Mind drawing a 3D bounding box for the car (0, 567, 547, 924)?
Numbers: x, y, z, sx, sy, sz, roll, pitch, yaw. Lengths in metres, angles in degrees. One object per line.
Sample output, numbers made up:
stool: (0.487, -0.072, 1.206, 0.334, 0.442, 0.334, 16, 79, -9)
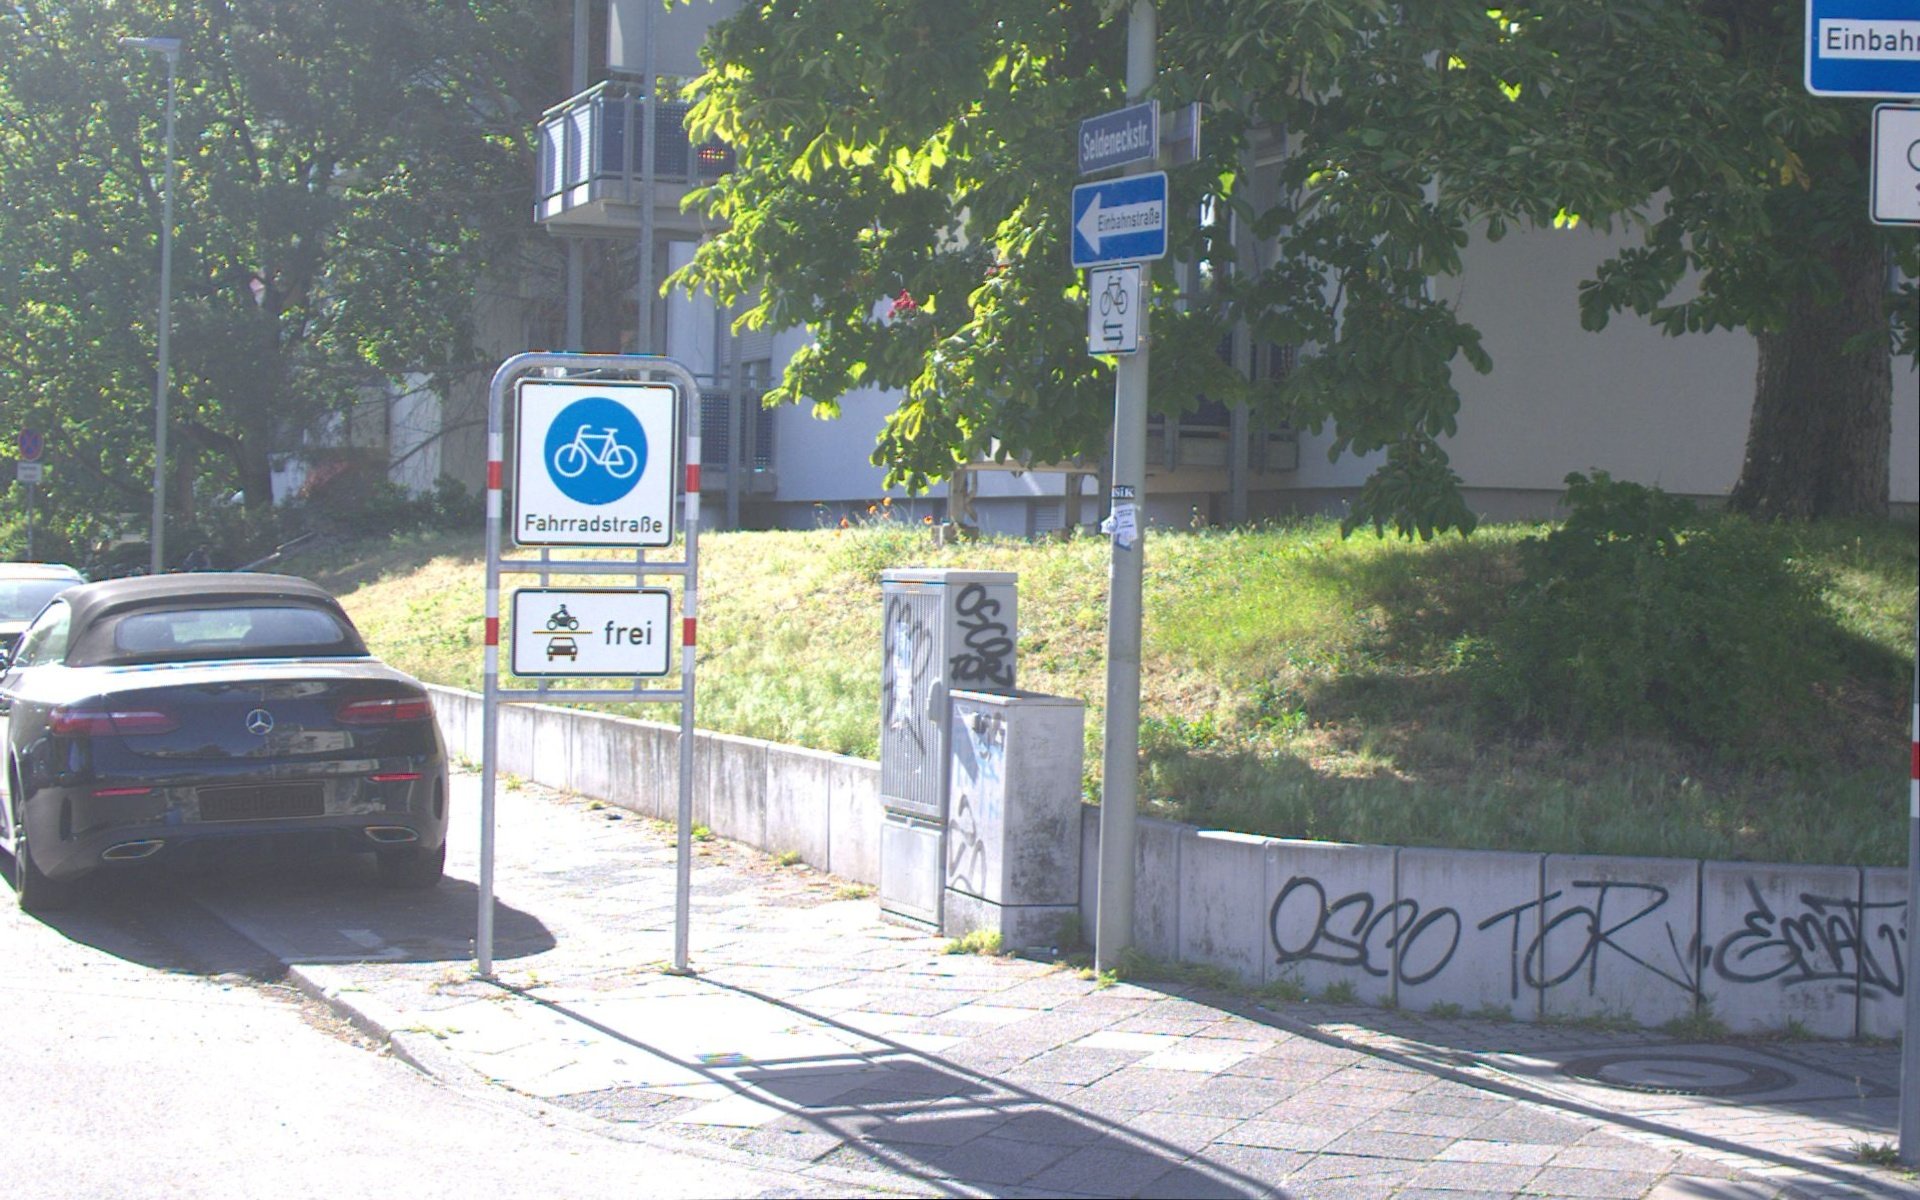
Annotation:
car: (-3.486, 0.558, 16.191, 2.124, 1.333, 4.507, -1, 2, -19)

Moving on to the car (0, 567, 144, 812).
car: (-6.249, 0.486, 21.525, 1.779, 1.366, 4.128, 1, 1, -19)

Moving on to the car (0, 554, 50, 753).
car: (-8.451, 0.363, 27.508, 1.779, 1.482, 4.033, 1, 1, -22)

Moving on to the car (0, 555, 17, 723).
car: (-10.053, 0.296, 32.310, 1.988, 1.482, 4.128, 1, 1, -19)
